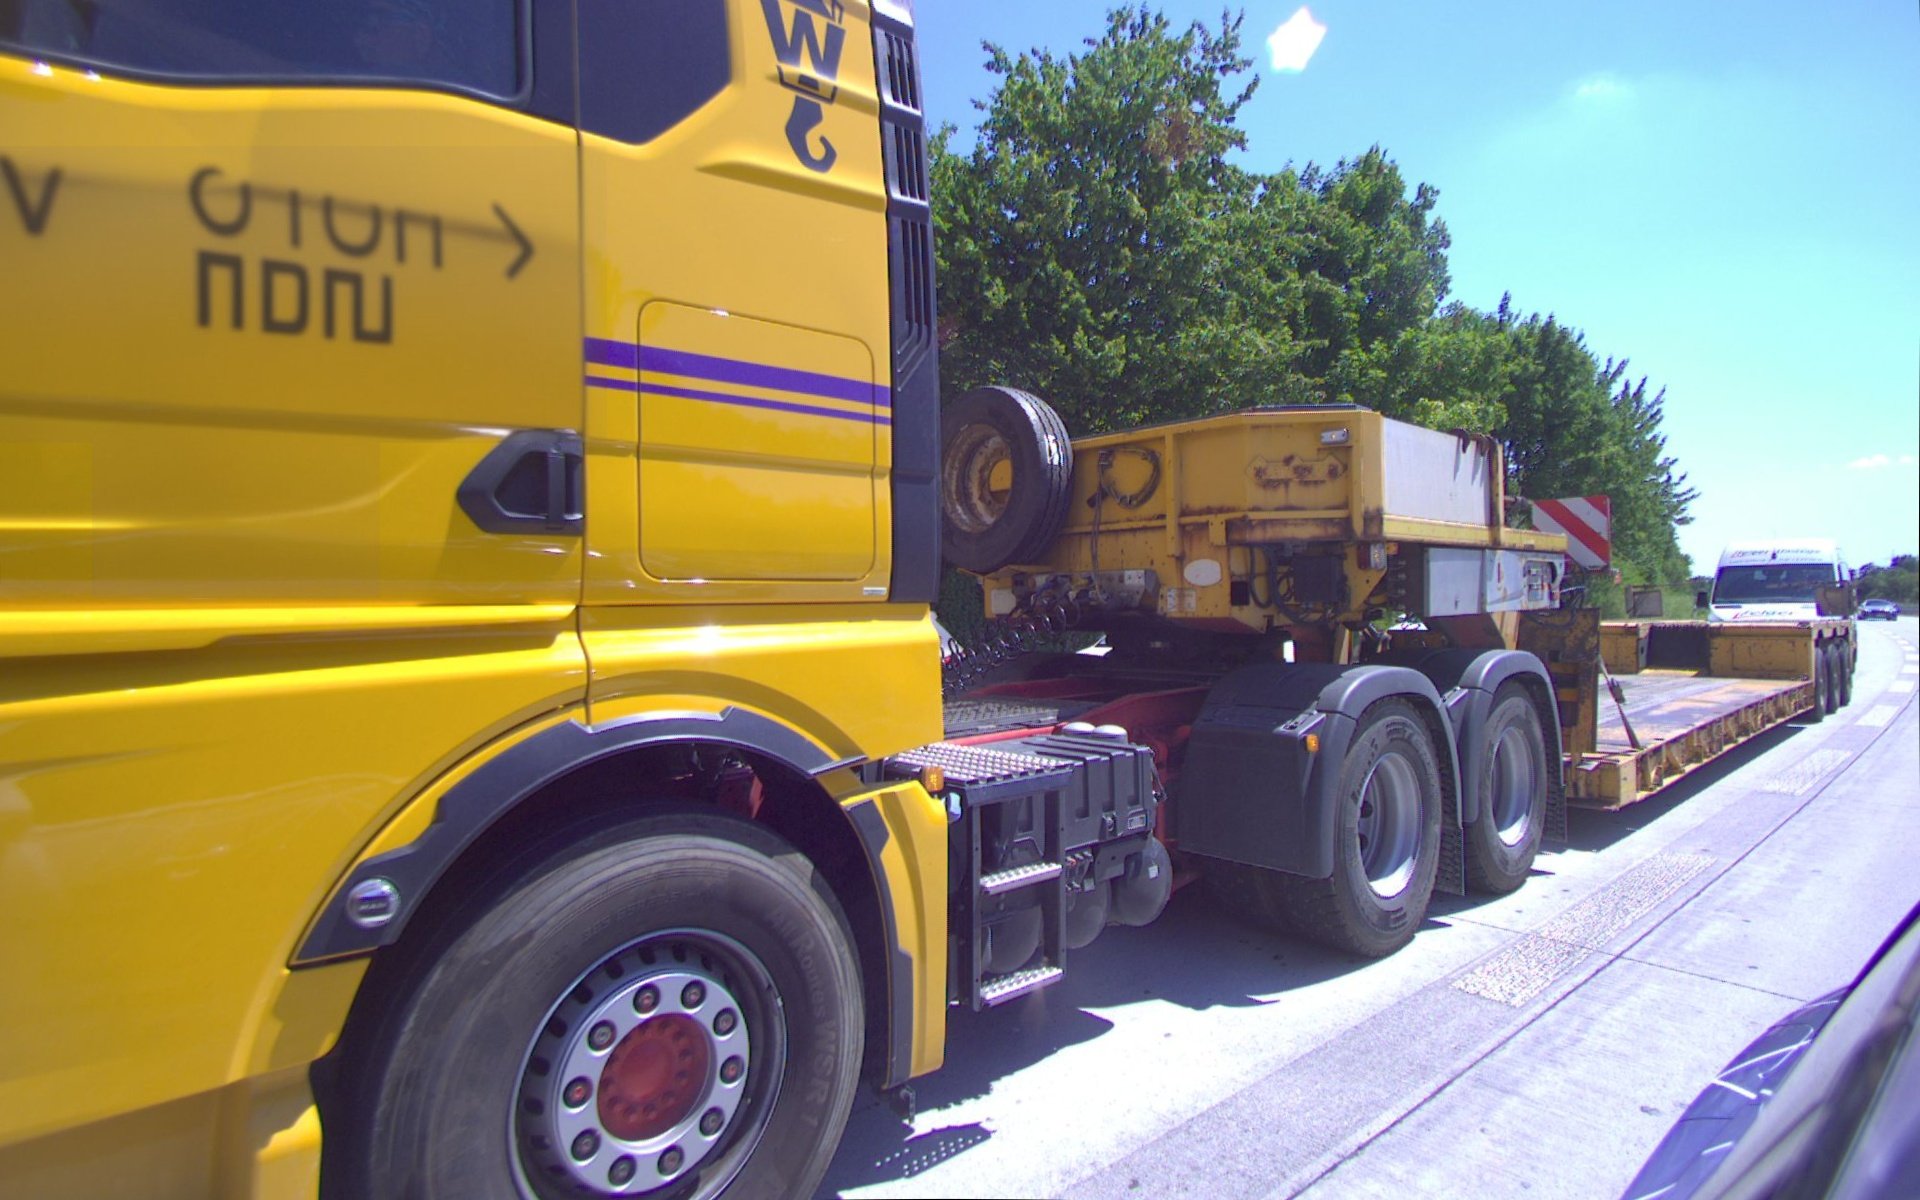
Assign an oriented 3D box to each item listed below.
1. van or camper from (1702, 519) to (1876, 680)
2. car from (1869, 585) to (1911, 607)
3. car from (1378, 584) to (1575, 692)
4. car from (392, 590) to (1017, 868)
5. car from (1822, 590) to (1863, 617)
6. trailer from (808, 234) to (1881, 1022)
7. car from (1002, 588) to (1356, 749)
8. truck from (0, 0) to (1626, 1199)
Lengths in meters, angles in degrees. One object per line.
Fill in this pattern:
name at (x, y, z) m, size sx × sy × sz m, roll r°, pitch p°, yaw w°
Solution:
van or camper at (15.874, -0.055, 19.236) m, size 2.063 × 2.606 × 5.814 m, roll 0°, pitch 1°, yaw 44°
car at (64.050, -0.297, 69.738) m, size 1.883 × 1.482 × 3.943 m, roll 0°, pitch 1°, yaw 40°
car at (8.833, 0.536, 17.129) m, size 1.768 × 1.581 × 4.298 m, roll 0°, pitch 1°, yaw 44°
car at (-1.674, 0.687, 7.668) m, size 4.292 × 1.480 × 1.769 m, roll -1°, pitch 1°, yaw -44°
car at (54.167, 0.173, 62.187) m, size 1.765 × 1.581 × 4.305 m, roll 0°, pitch 1°, yaw 40°
trailer at (6.070, 0.039, 9.959) m, size 16.079 × 2.626 × 3.031 m, roll 0°, pitch 0°, yaw -43°
car at (2.689, 0.623, 11.694) m, size 4.521 × 1.480 × 1.769 m, roll -1°, pitch 1°, yaw -43°
truck at (0.116, -0.526, 4.458) m, size 7.343 × 3.820 × 3.017 m, roll -1°, pitch 0°, yaw -43°
